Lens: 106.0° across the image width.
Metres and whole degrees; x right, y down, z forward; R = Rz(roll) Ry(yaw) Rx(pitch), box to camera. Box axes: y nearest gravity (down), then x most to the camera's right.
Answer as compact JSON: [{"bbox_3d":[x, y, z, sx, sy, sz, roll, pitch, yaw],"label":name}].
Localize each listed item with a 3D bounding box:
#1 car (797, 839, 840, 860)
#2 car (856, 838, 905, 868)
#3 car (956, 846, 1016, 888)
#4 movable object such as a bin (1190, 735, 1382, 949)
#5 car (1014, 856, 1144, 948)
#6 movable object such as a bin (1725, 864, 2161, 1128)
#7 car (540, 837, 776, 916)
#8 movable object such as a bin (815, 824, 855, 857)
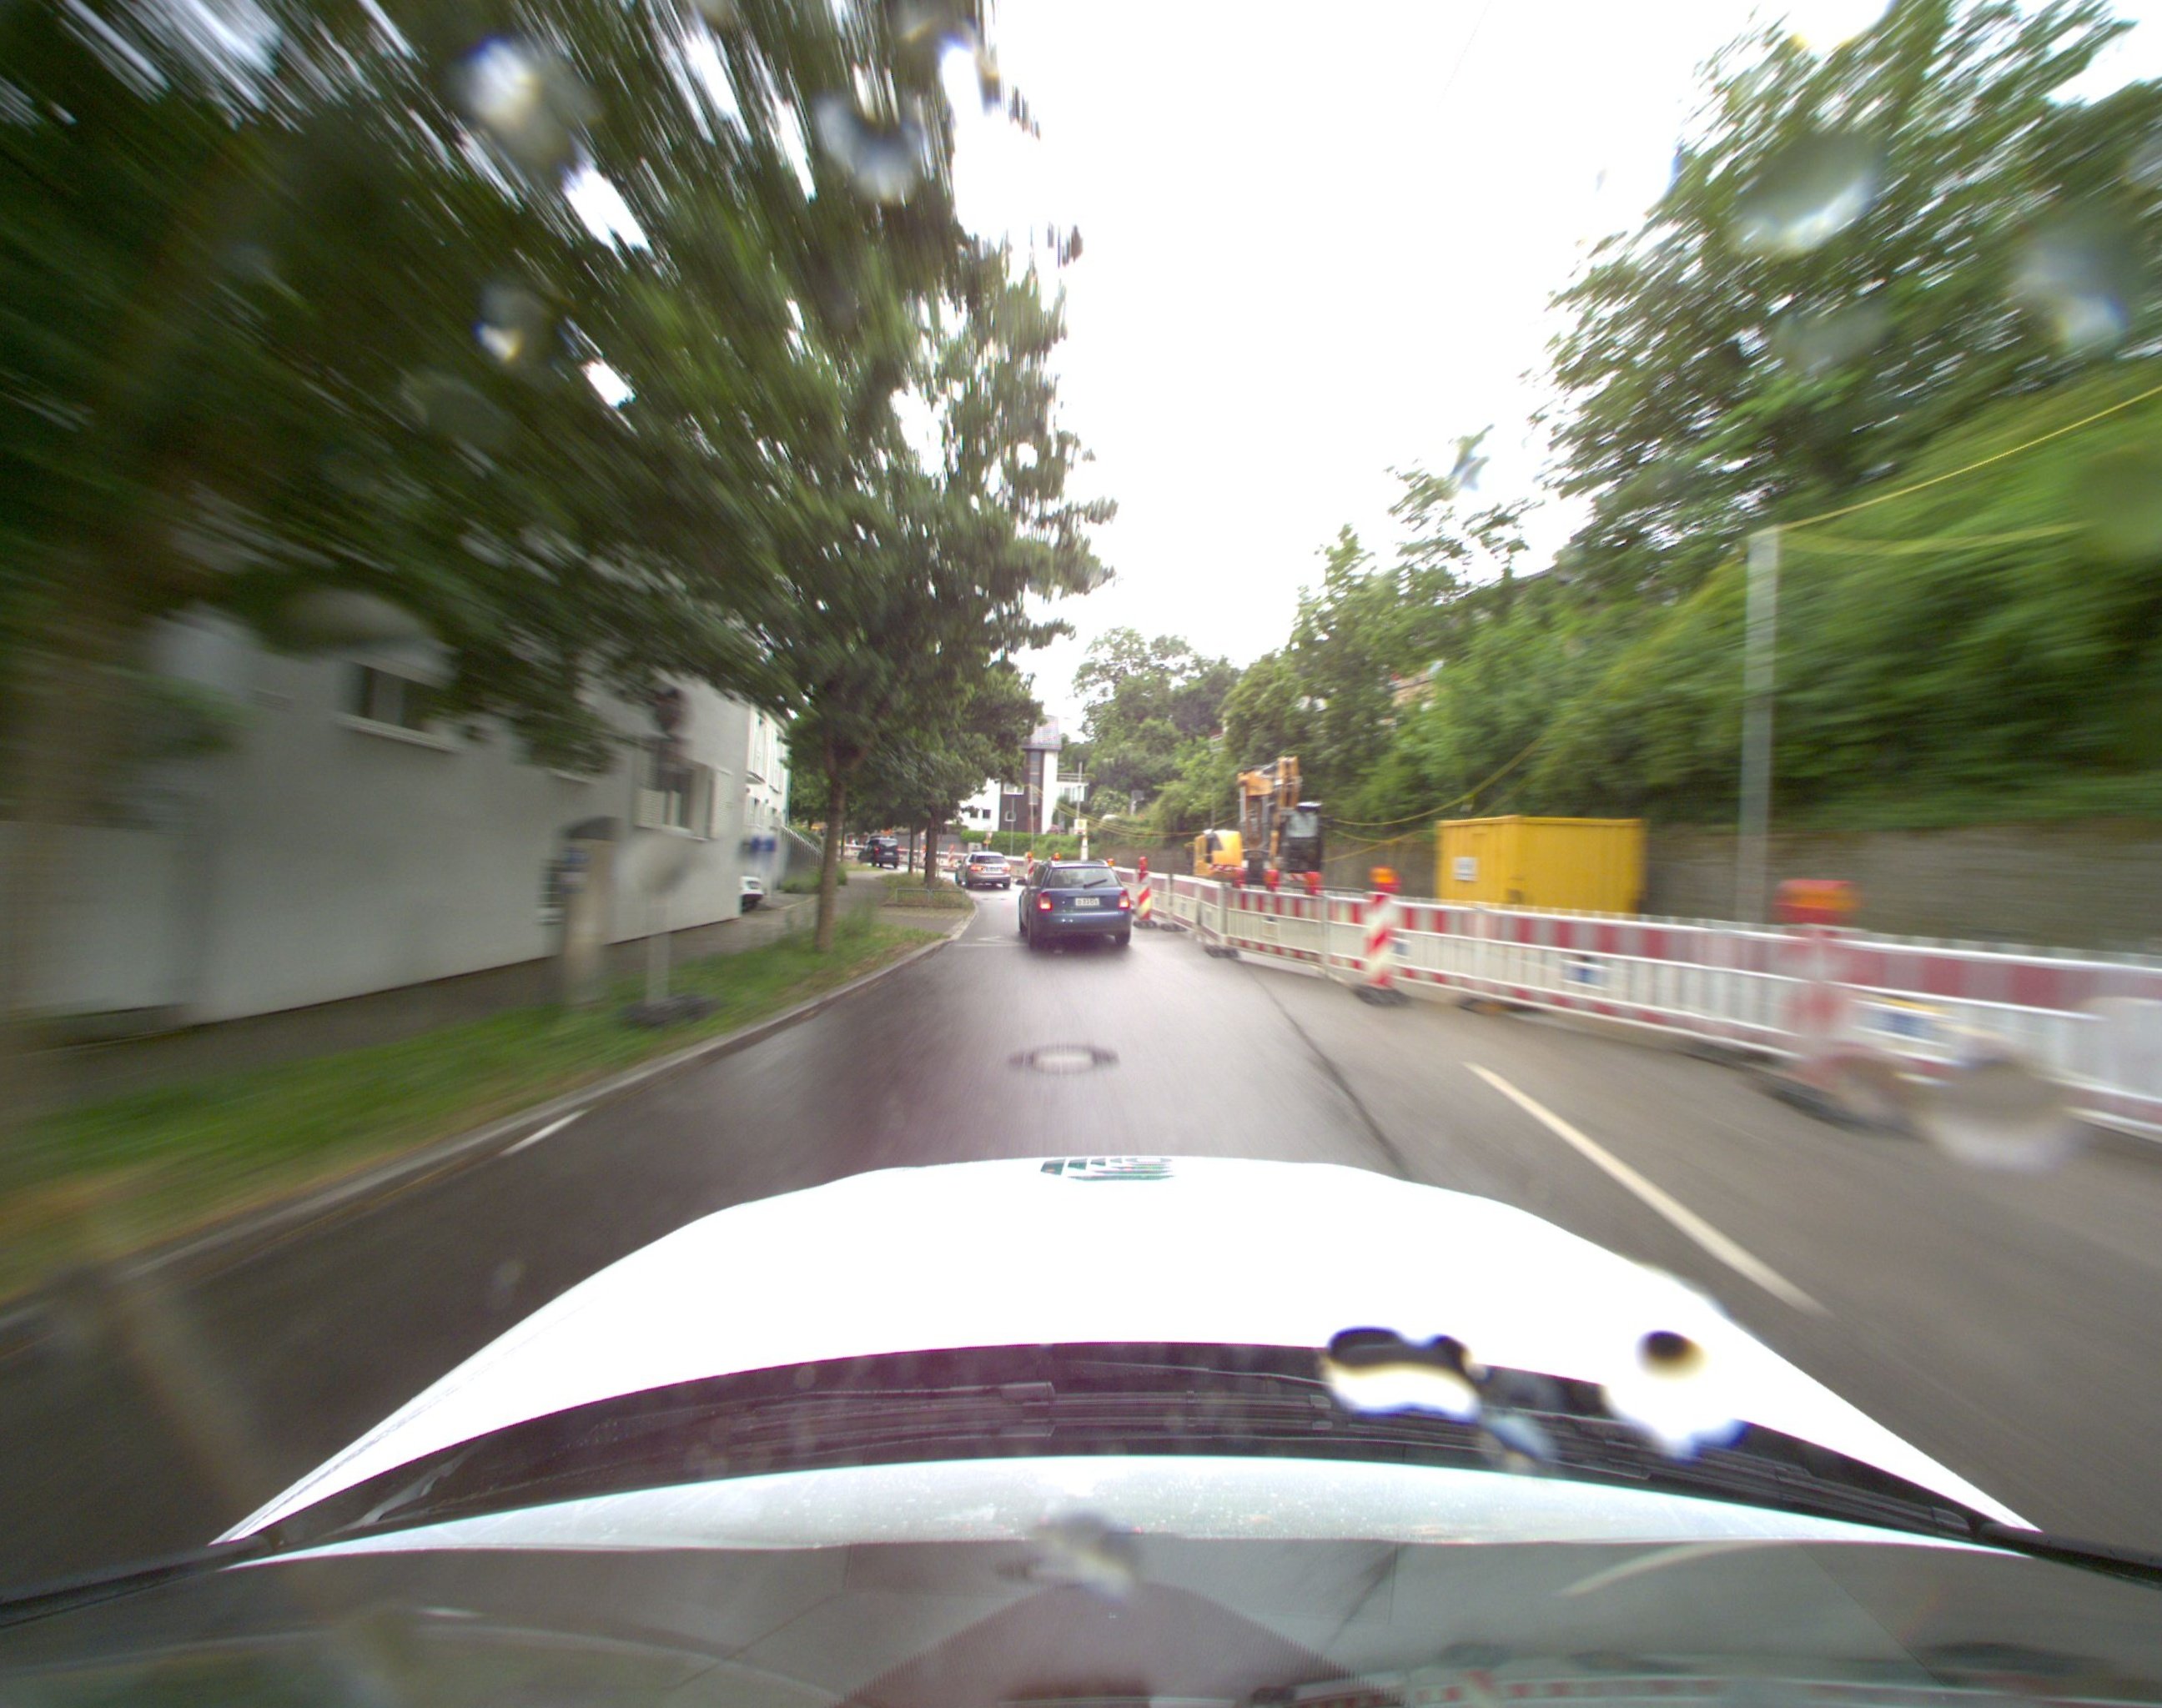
[{"bbox_3d":[-20.048,-0.334,62.081,1.735,1.486,4.028,0,-1,-41],"label":"car"},{"bbox_3d":[-12.855,-0.057,52.075,2.006,1.794,3.961,0,-1,-30],"label":"car"},{"bbox_3d":[-4.030,0.500,34.050,1.929,1.618,4.299,1,0,-14],"label":"car"},{"bbox_3d":[4.371,-0.239,19.081,2.809,4.014,7.329,1,0,2],"label":"movable object such as a bin"},{"bbox_3d":[-0.177,0.764,14.902,1.785,1.442,3.951,1,0,-9],"label":"car"},{"bbox_3d":[7.643,0.908,6.497,1.985,1.519,4.004,1,0,3],"label":"movable object such as a bin"},{"bbox_3d":[-8.699,0.460,17.016,3.975,1.561,1.749,0,-1,-1],"label":"car"},{"bbox_3d":[-21.358,-1.210,70.724,2.009,2.613,3.956,1,3,-38],"label":"movable object such as a bin"}]
